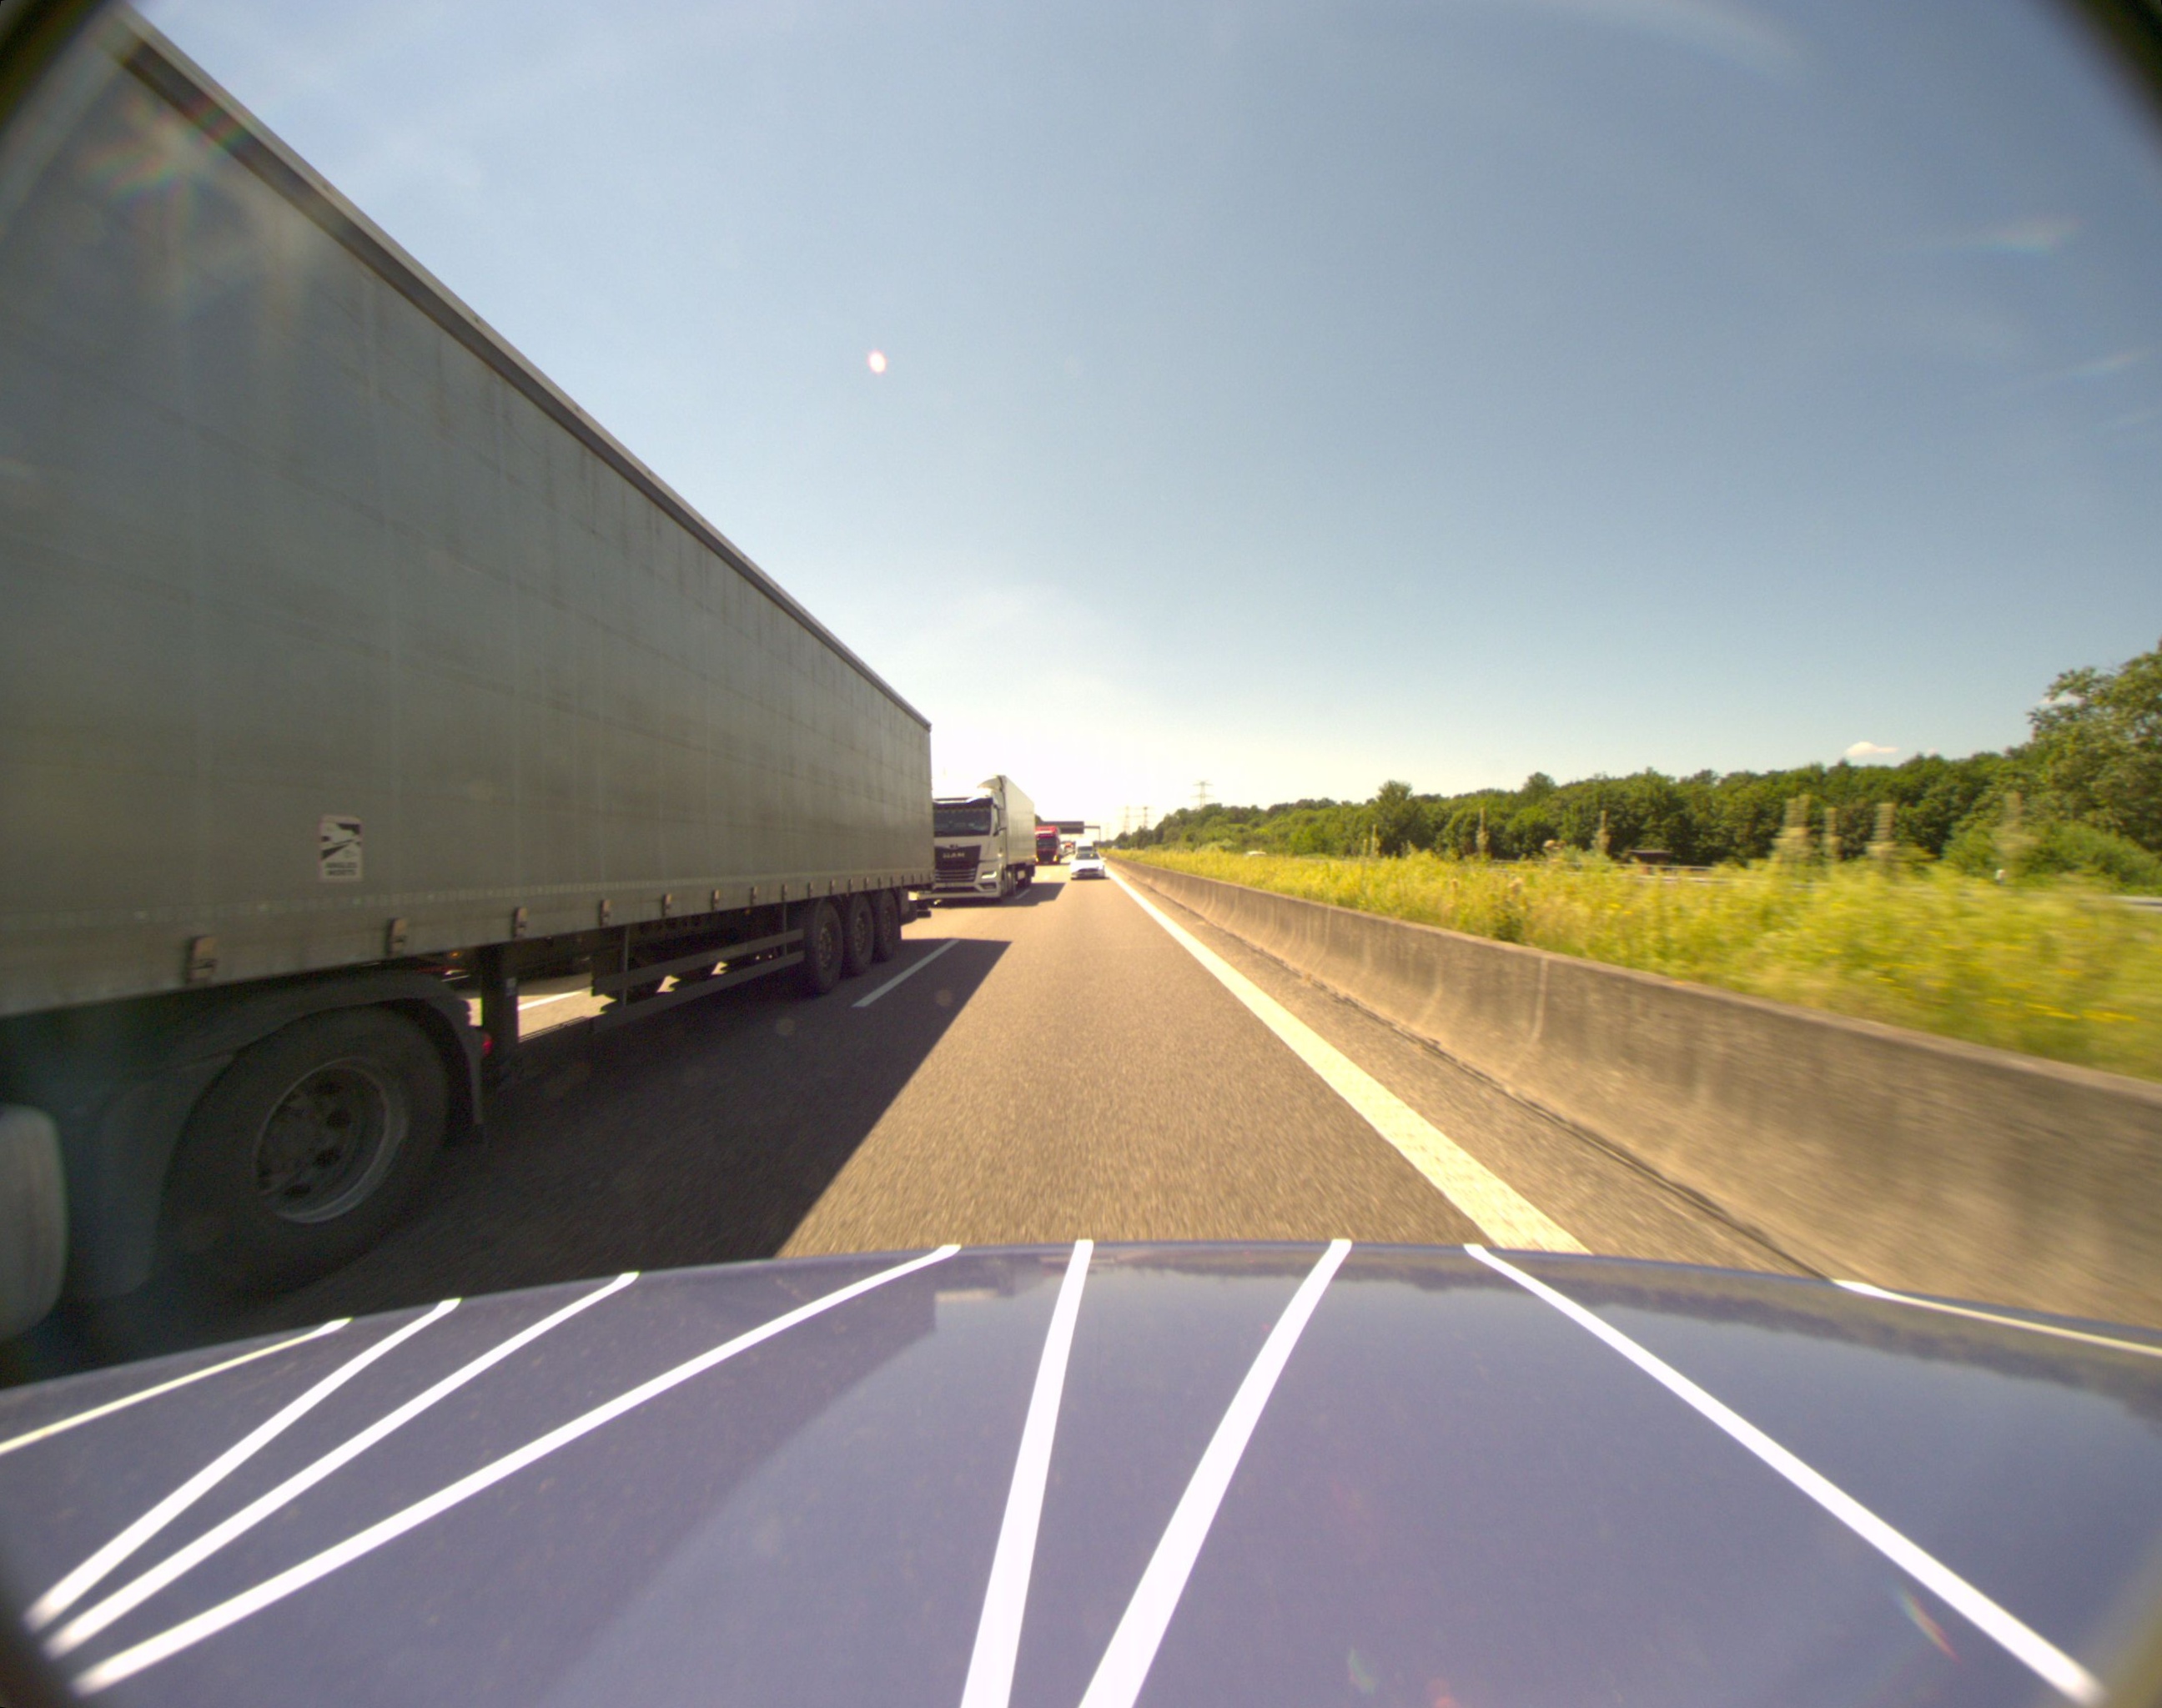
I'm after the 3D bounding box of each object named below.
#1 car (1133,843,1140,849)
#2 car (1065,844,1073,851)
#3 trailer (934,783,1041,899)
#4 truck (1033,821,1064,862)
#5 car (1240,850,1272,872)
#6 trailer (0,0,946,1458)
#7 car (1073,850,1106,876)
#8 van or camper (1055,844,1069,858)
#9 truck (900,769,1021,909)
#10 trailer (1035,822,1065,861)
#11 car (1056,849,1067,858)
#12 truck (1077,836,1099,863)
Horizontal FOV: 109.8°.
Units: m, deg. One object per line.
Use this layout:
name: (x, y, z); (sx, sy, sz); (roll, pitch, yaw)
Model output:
car: (18.192, -2.600, 250.154); (1.886, 2.002, 5.074); (-1, 1, 0)
car: (-3.000, -1.737, 193.173); (1.904, 1.662, 3.999); (-2, 0, -1)
trailer: (-3.613, -0.514, 32.995); (2.802, 4.012, 12.566); (-1, 1, 1)
truck: (-3.325, -1.286, 79.438); (2.948, 3.963, 6.100); (-2, 1, -1)
car: (13.976, 0.530, 60.757); (1.653, 1.635, 3.999); (0, 1, 0)
trailer: (-4.093, -0.575, 7.447); (2.714, 4.045, 14.742); (-2, 1, 0)
car: (0.445, 0.496, 44.702); (1.788, 1.462, 3.999); (-1, 0, -1)
van or camper: (-3.510, -0.604, 139.081); (2.412, 2.483, 6.431); (-1, 0, -1)
truck: (-3.730, -0.452, 25.045); (2.806, 3.984, 6.020); (-1, 1, 1)
trailer: (-3.475, -1.394, 88.749); (2.945, 3.995, 16.196); (-2, 1, -1)
car: (-3.384, -0.109, 133.683); (1.788, 1.520, 4.104); (-1, 0, -1)
truck: (0.772, -0.521, 84.454); (2.192, 2.841, 5.502); (-2, 1, -1)
